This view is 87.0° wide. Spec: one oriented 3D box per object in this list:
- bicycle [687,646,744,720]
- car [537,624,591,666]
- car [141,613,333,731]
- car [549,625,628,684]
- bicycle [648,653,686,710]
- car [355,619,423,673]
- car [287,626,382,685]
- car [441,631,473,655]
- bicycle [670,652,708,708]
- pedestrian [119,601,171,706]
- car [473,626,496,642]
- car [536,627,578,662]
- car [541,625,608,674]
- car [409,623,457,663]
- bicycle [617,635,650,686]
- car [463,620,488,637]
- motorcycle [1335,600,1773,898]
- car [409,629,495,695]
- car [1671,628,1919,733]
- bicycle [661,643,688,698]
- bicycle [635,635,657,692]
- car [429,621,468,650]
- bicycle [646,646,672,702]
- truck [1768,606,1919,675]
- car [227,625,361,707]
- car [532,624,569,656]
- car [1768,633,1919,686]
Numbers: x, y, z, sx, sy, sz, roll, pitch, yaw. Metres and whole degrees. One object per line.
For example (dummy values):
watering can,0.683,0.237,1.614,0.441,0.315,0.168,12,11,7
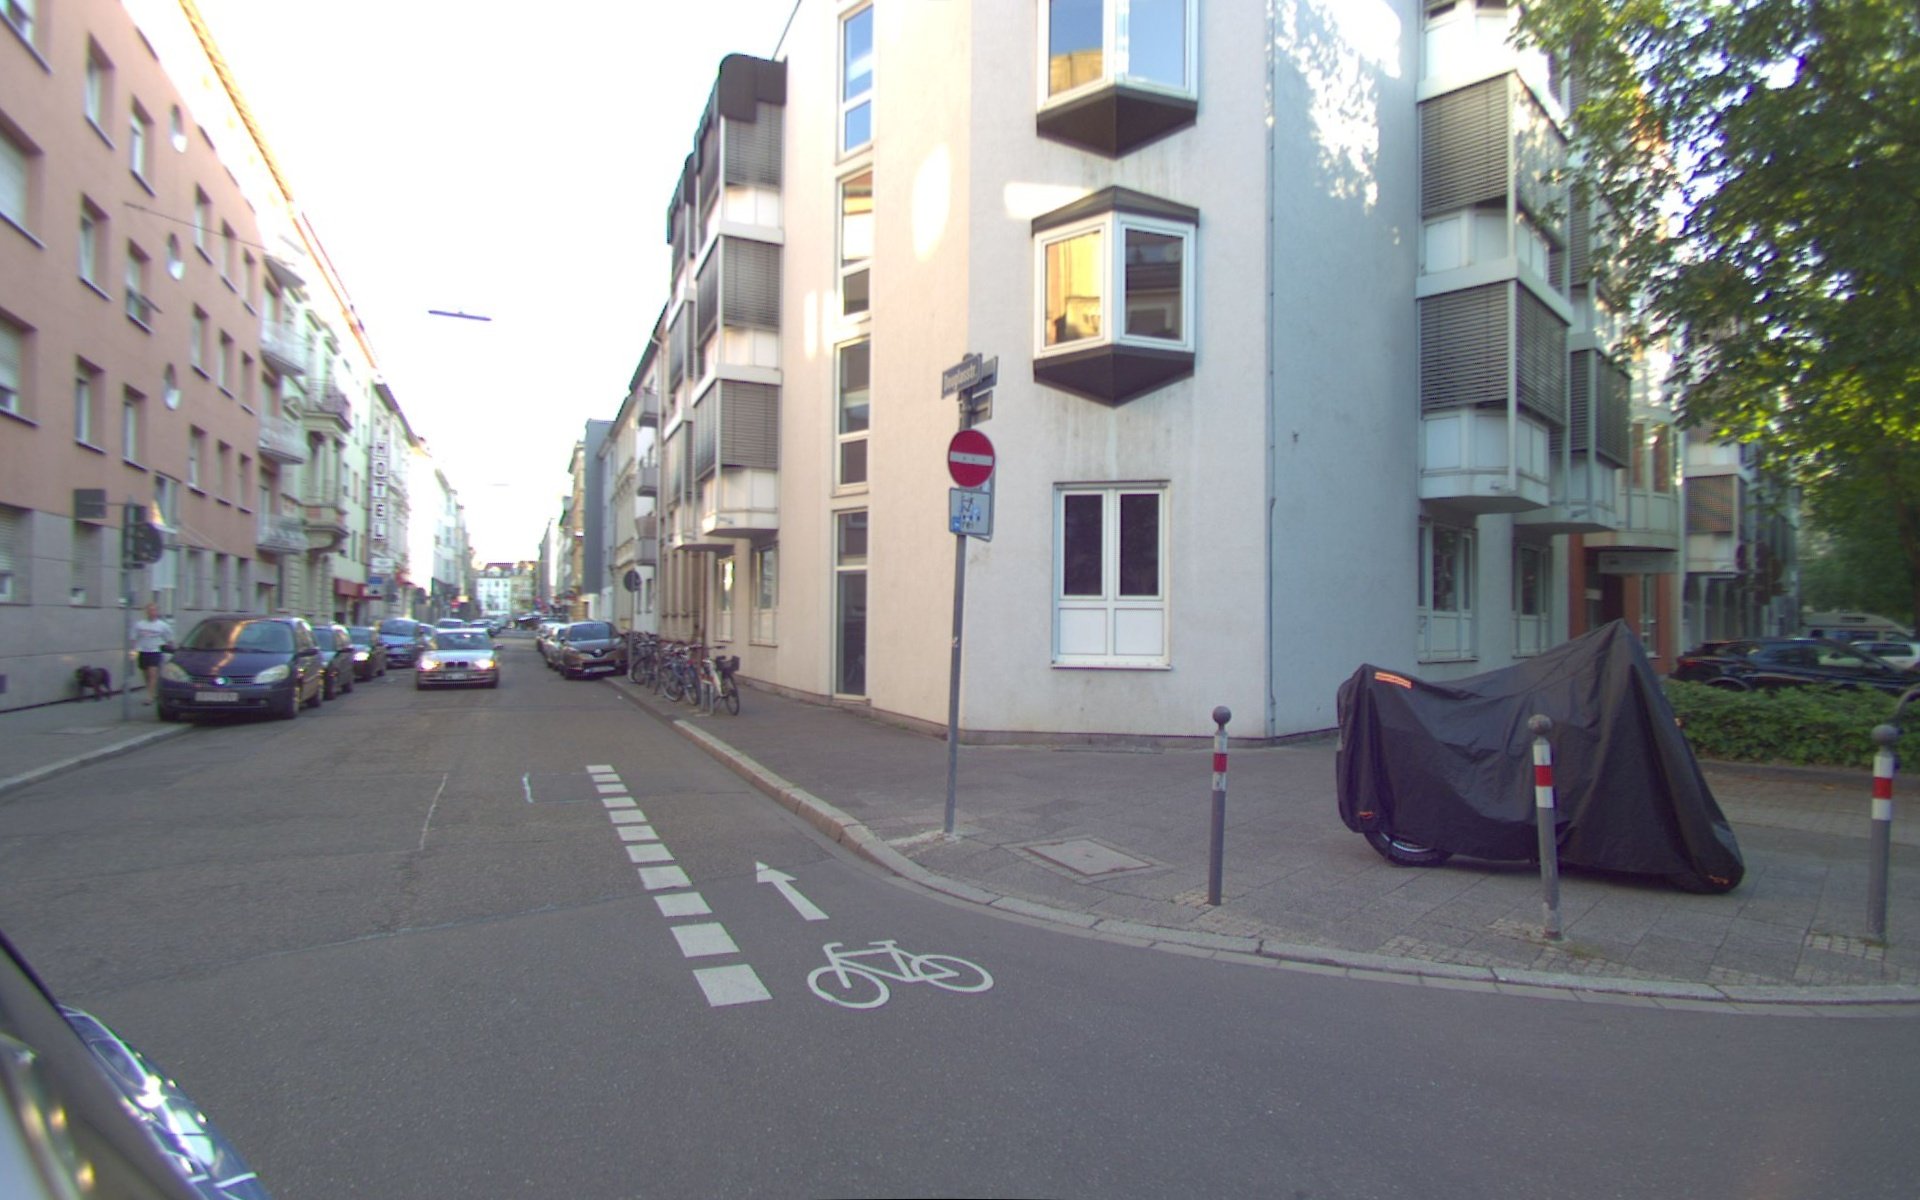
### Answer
bicycle,-4.013,1.322,16.520,0.394,1.111,1.818,0,-2,-30
car,-15.571,1.721,39.709,1.765,1.551,4.508,0,-2,-24
car,-11.501,1.065,16.385,1.665,1.637,4.067,0,-2,-23
car,-10.851,1.524,29.406,1.765,1.588,4.084,0,-2,-26
bicycle,-5.358,1.460,18.462,0.302,0.939,1.819,0,-1,-28
car,-19.760,1.546,35.141,1.665,1.754,4.122,0,-2,-24
car,-17.131,1.473,27.877,1.665,1.469,4.145,0,-2,-24
car,-34.157,2.894,68.787,1.701,1.489,3.989,0,-1,-23
bicycle,-5.000,1.450,18.614,0.302,0.939,1.819,1,-2,-27
pedestrian,-13.927,0.912,17.302,0.541,1.757,0.570,1,-2,-25
car,-43.859,3.159,93.402,1.701,1.409,3.905,0,-2,-23
car,-18.381,1.981,46.068,1.615,1.500,3.801,0,-2,-24
car,-13.285,1.639,34.726,1.765,1.551,4.448,0,-2,-26
car,-21.705,1.748,41.785,1.548,1.591,3.601,0,-2,-24
bicycle,-8.129,1.479,25.149,0.587,1.196,2.273,0,-2,-23
car,-40.863,2.393,85.432,1.701,1.409,3.905,0,-2,-23
motorcycle,3.424,0.803,6.089,2.149,1.567,0.664,-1,-2,24
car,-12.361,1.452,24.823,1.653,1.414,4.486,-1,-1,-24
car,14.603,1.282,16.793,4.372,1.520,1.808,0,-1,44
bicycle,-5.883,1.434,20.821,0.302,1.050,1.819,0,-2,-23
bicycle,-7.202,1.433,23.172,0.302,1.232,1.819,0,-2,-23
car,-32.617,2.264,64.639,1.811,1.708,4.372,5,-4,-23
bicycle,-6.179,1.485,20.711,0.302,1.050,1.819,0,-2,-23
truck,33.904,1.466,38.283,1.888,2.459,5.019,0,0,-45
car,-13.844,1.305,21.267,1.665,1.525,4.297,0,-2,-24
car,-22.802,2.215,56.286,1.615,1.724,3.795,0,-2,-26
car,28.350,1.858,32.084,4.147,1.483,1.616,0,-1,44
